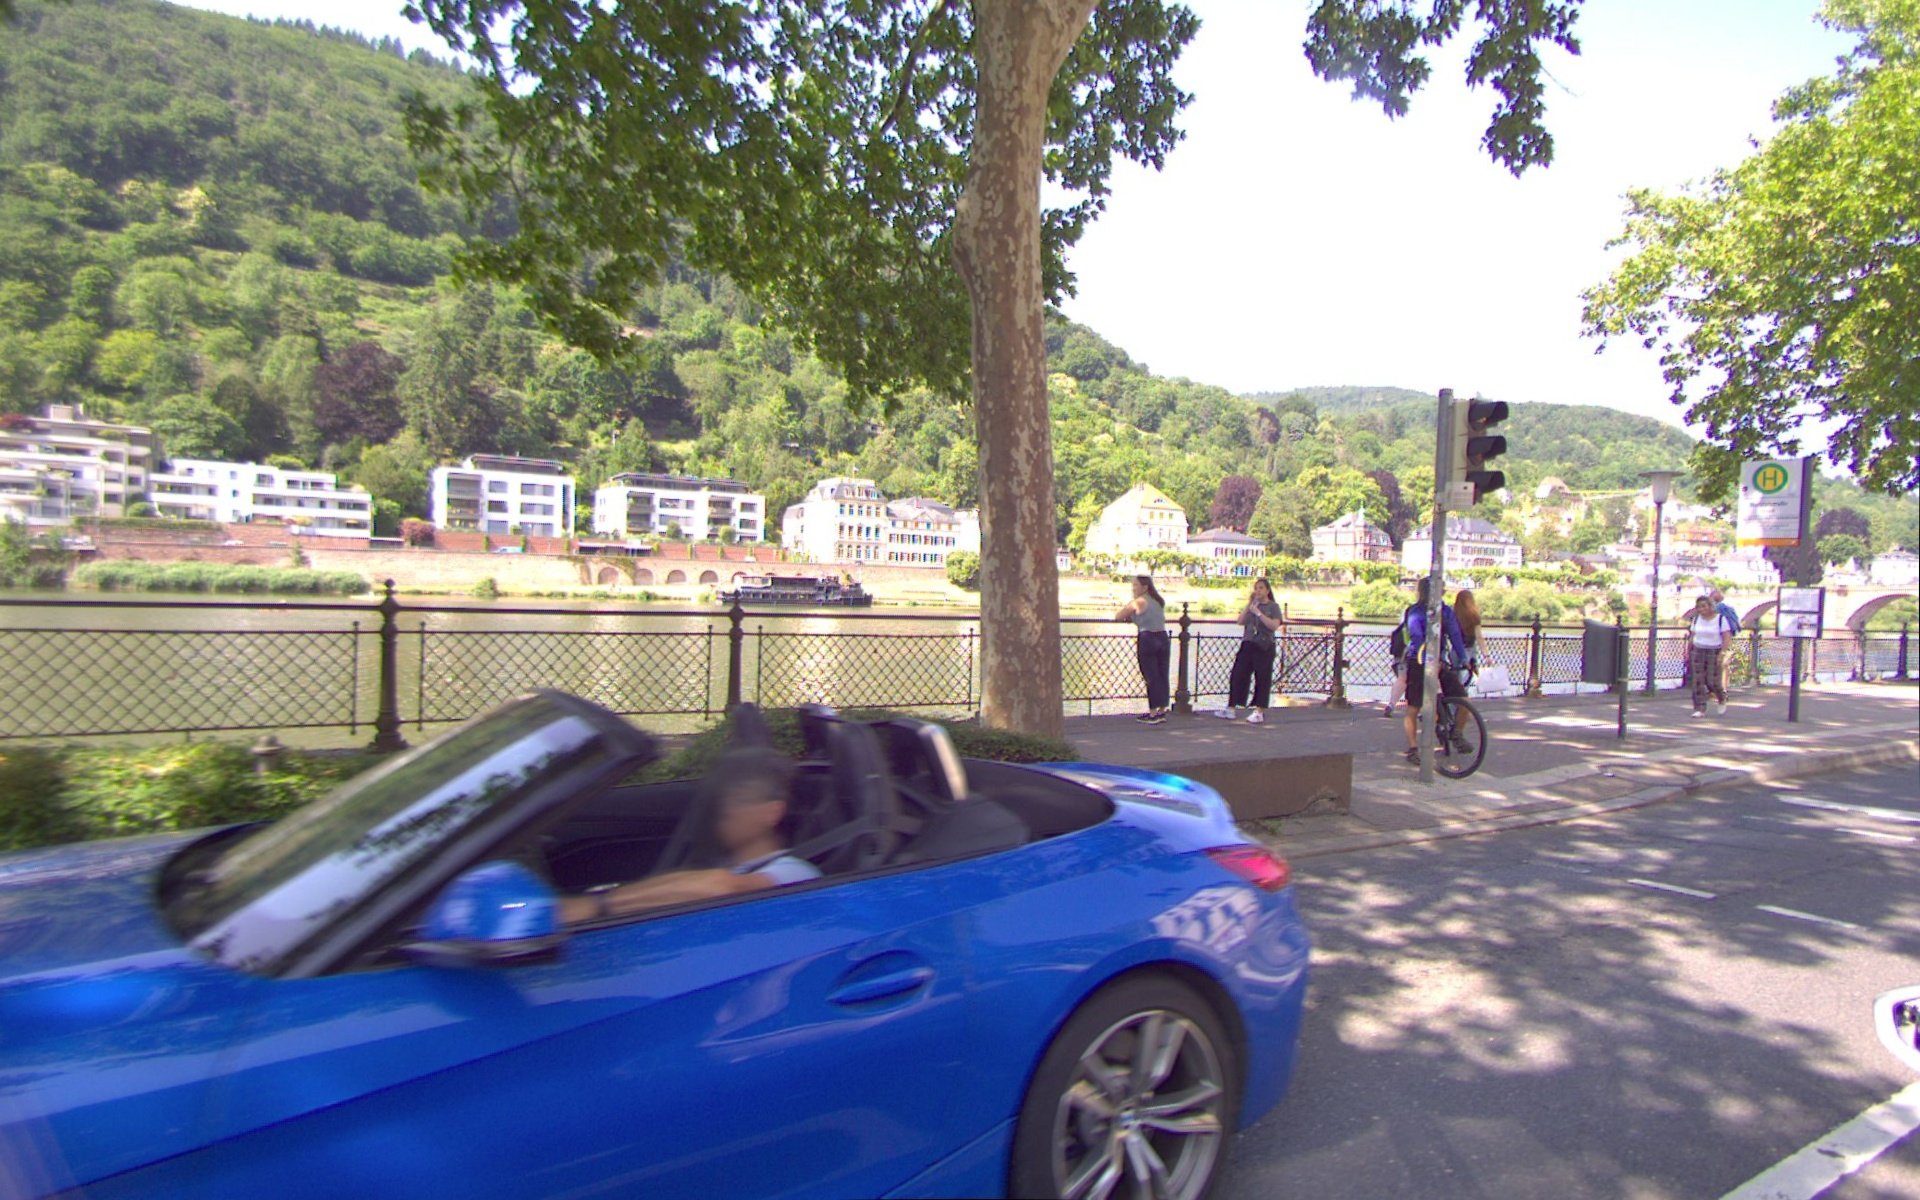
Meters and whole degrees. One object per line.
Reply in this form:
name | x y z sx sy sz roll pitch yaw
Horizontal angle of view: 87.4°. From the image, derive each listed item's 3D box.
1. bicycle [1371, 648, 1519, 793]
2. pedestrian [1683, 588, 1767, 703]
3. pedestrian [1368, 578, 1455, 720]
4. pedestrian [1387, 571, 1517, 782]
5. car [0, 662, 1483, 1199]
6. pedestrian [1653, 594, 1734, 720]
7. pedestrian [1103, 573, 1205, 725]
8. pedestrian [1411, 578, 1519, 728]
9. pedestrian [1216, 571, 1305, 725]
bicycle | 4.462 1.062 9.396 0.727 0.938 1.830 3 6 10
pedestrian | 12.386 0.727 16.265 0.961 1.788 0.707 1 1 -31
pedestrian | 5.742 0.603 12.793 0.784 1.736 0.649 1 0 -31
pedestrian | 4.490 0.655 9.241 0.753 1.796 1.025 2 1 10
car | -0.781 0.835 2.525 4.214 1.286 1.831 2 -2 -31
pedestrian | 9.915 0.758 13.575 0.980 1.639 0.491 1 1 -31
pedestrian | 2.193 0.542 11.370 0.900 1.630 0.546 1 4 -31
pedestrian | 6.149 0.622 12.253 0.773 1.736 0.831 1 1 -31
pedestrian | 3.509 0.540 11.743 0.688 1.723 0.615 1 2 -31
